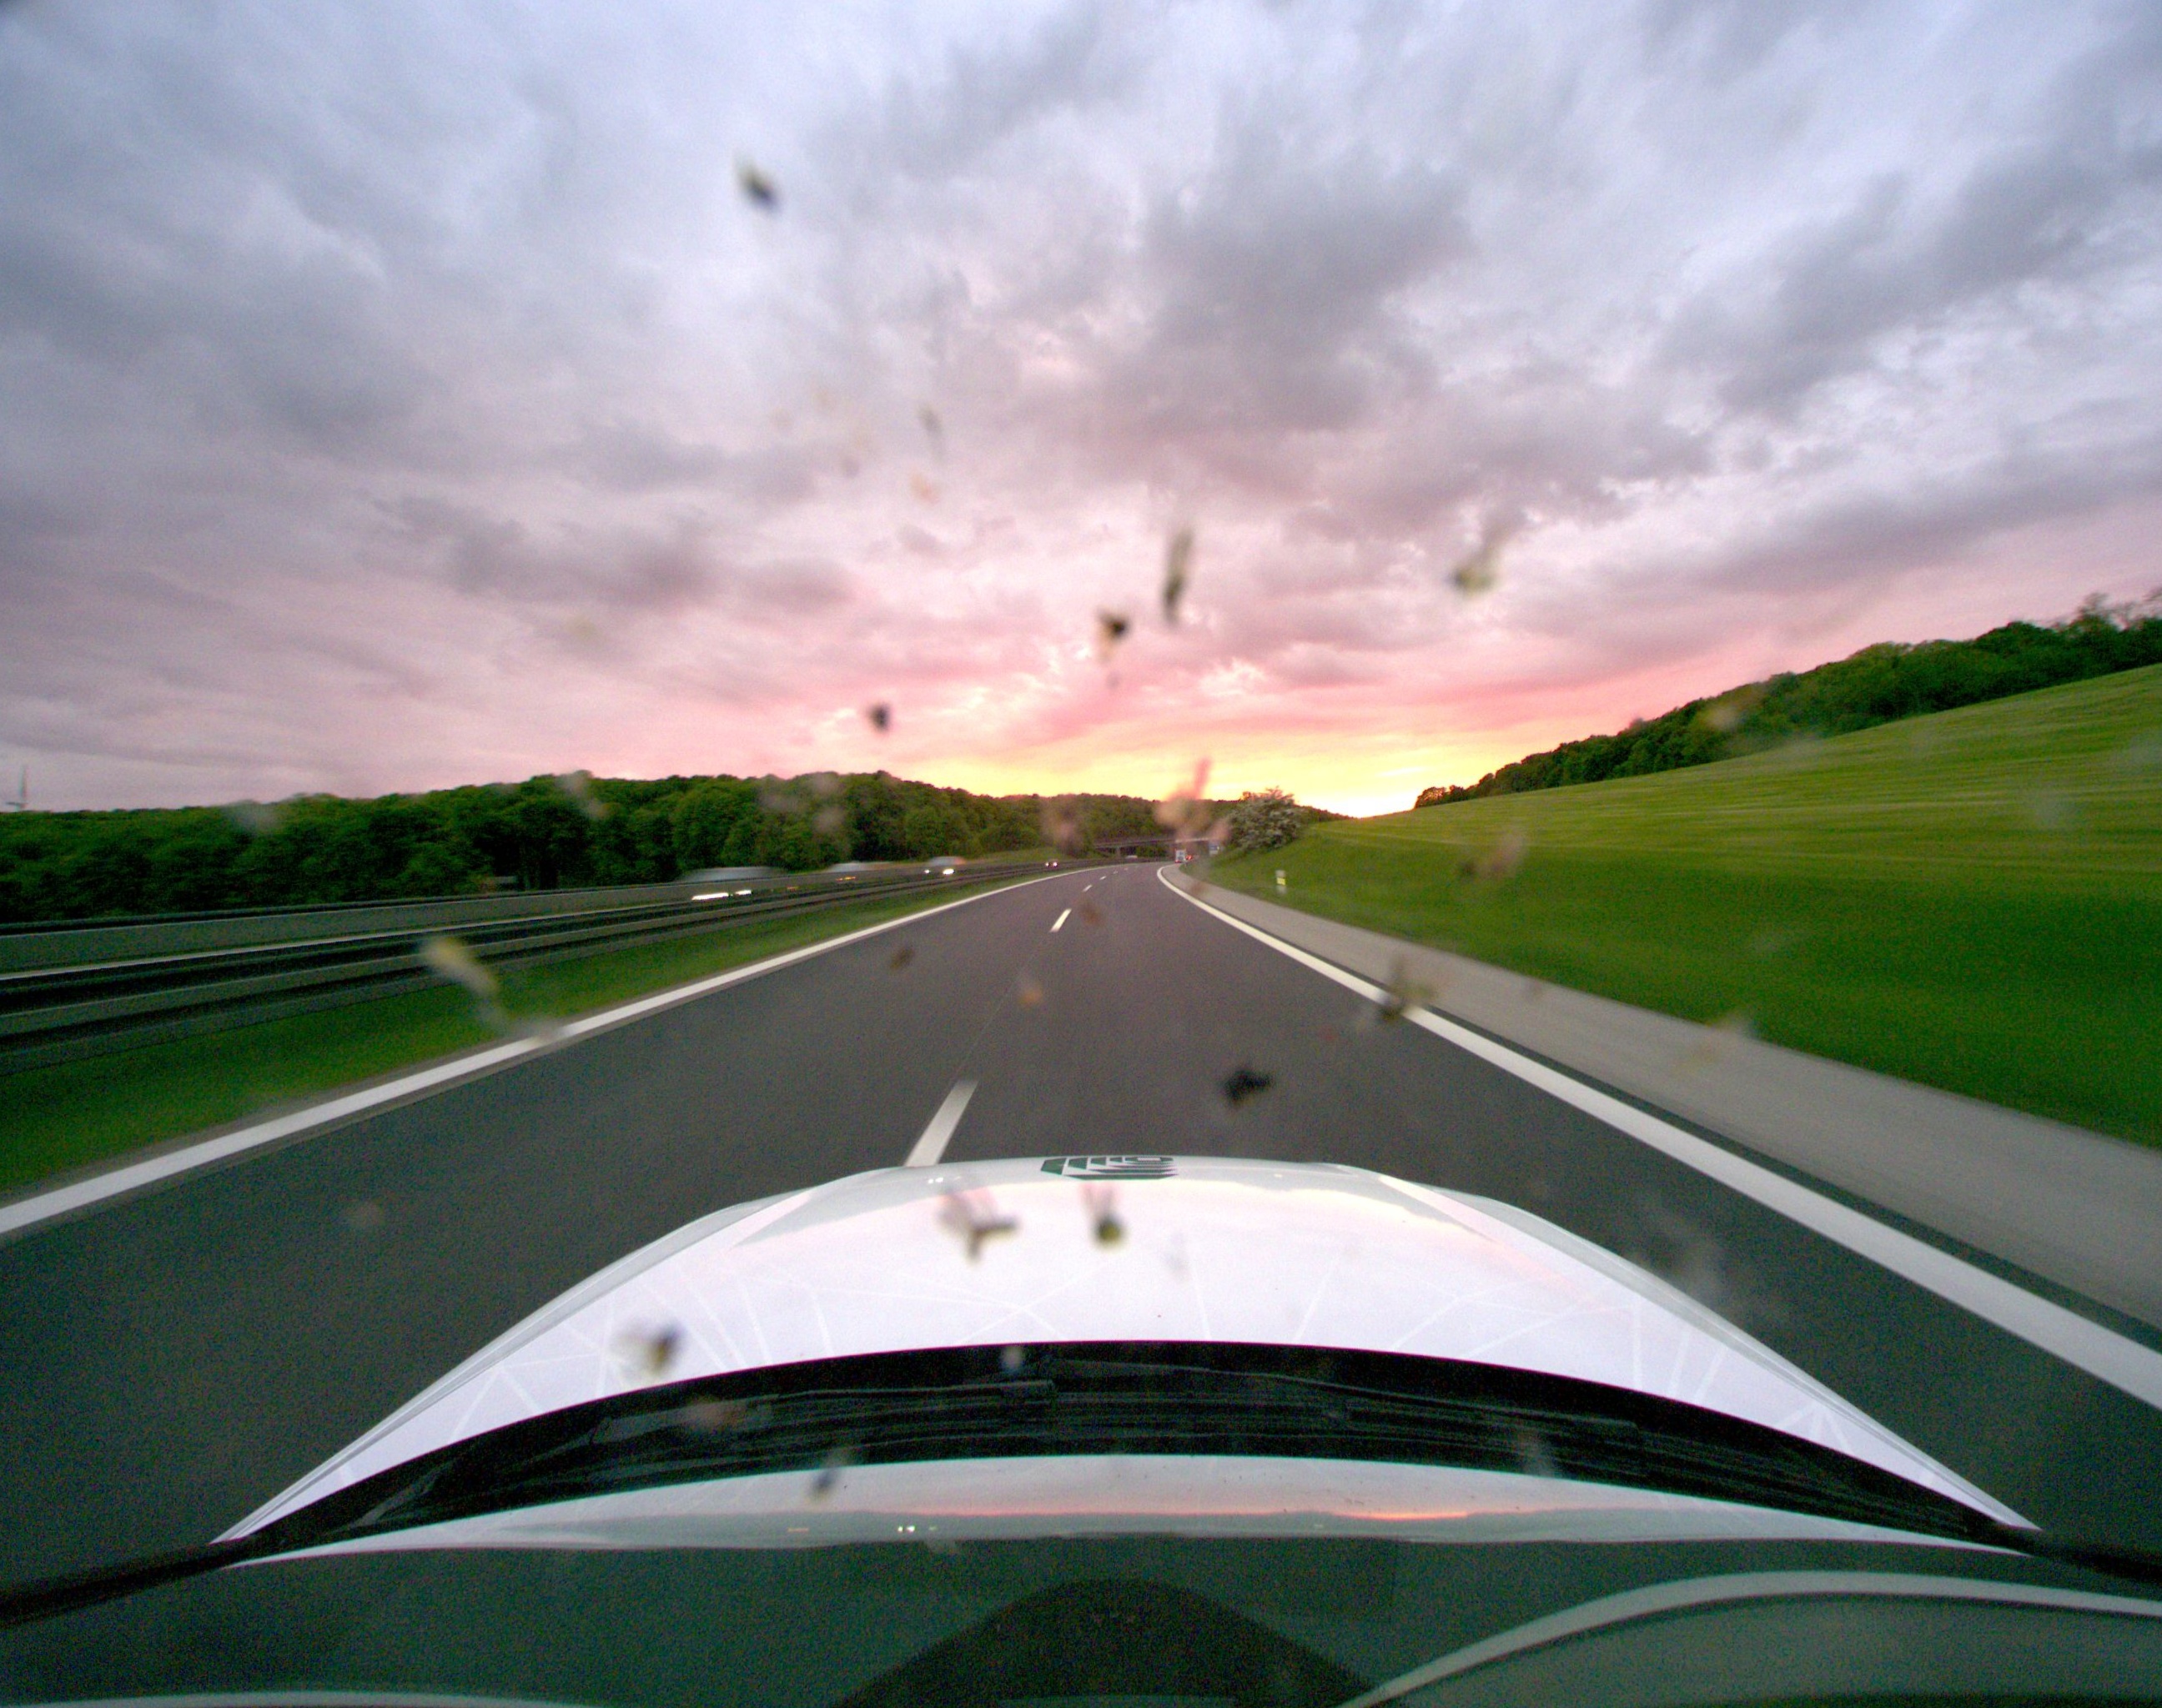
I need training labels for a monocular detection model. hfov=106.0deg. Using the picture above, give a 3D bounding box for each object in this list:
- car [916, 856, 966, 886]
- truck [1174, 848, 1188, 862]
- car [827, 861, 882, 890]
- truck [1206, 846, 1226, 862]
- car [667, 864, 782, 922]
[{"bbox_3d":[-8.545,1.014,50.162,1.985,1.727,4.775,-1,0,4],"label":"car"},{"bbox_3d":[20.295,0.097,165.550,2.261,2.665,5.253,-3,0,12],"label":"truck"},{"bbox_3d":[-12.307,1.133,44.404,1.646,1.418,4.004,-1,1,3],"label":"car"},{"bbox_3d":[38.874,0.078,233.870,3.928,4.287,14.381,-2,-1,15],"label":"truck"},{"bbox_3d":[-10.790,1.118,24.969,1.603,1.483,4.001,-3,0,1],"label":"car"}]
